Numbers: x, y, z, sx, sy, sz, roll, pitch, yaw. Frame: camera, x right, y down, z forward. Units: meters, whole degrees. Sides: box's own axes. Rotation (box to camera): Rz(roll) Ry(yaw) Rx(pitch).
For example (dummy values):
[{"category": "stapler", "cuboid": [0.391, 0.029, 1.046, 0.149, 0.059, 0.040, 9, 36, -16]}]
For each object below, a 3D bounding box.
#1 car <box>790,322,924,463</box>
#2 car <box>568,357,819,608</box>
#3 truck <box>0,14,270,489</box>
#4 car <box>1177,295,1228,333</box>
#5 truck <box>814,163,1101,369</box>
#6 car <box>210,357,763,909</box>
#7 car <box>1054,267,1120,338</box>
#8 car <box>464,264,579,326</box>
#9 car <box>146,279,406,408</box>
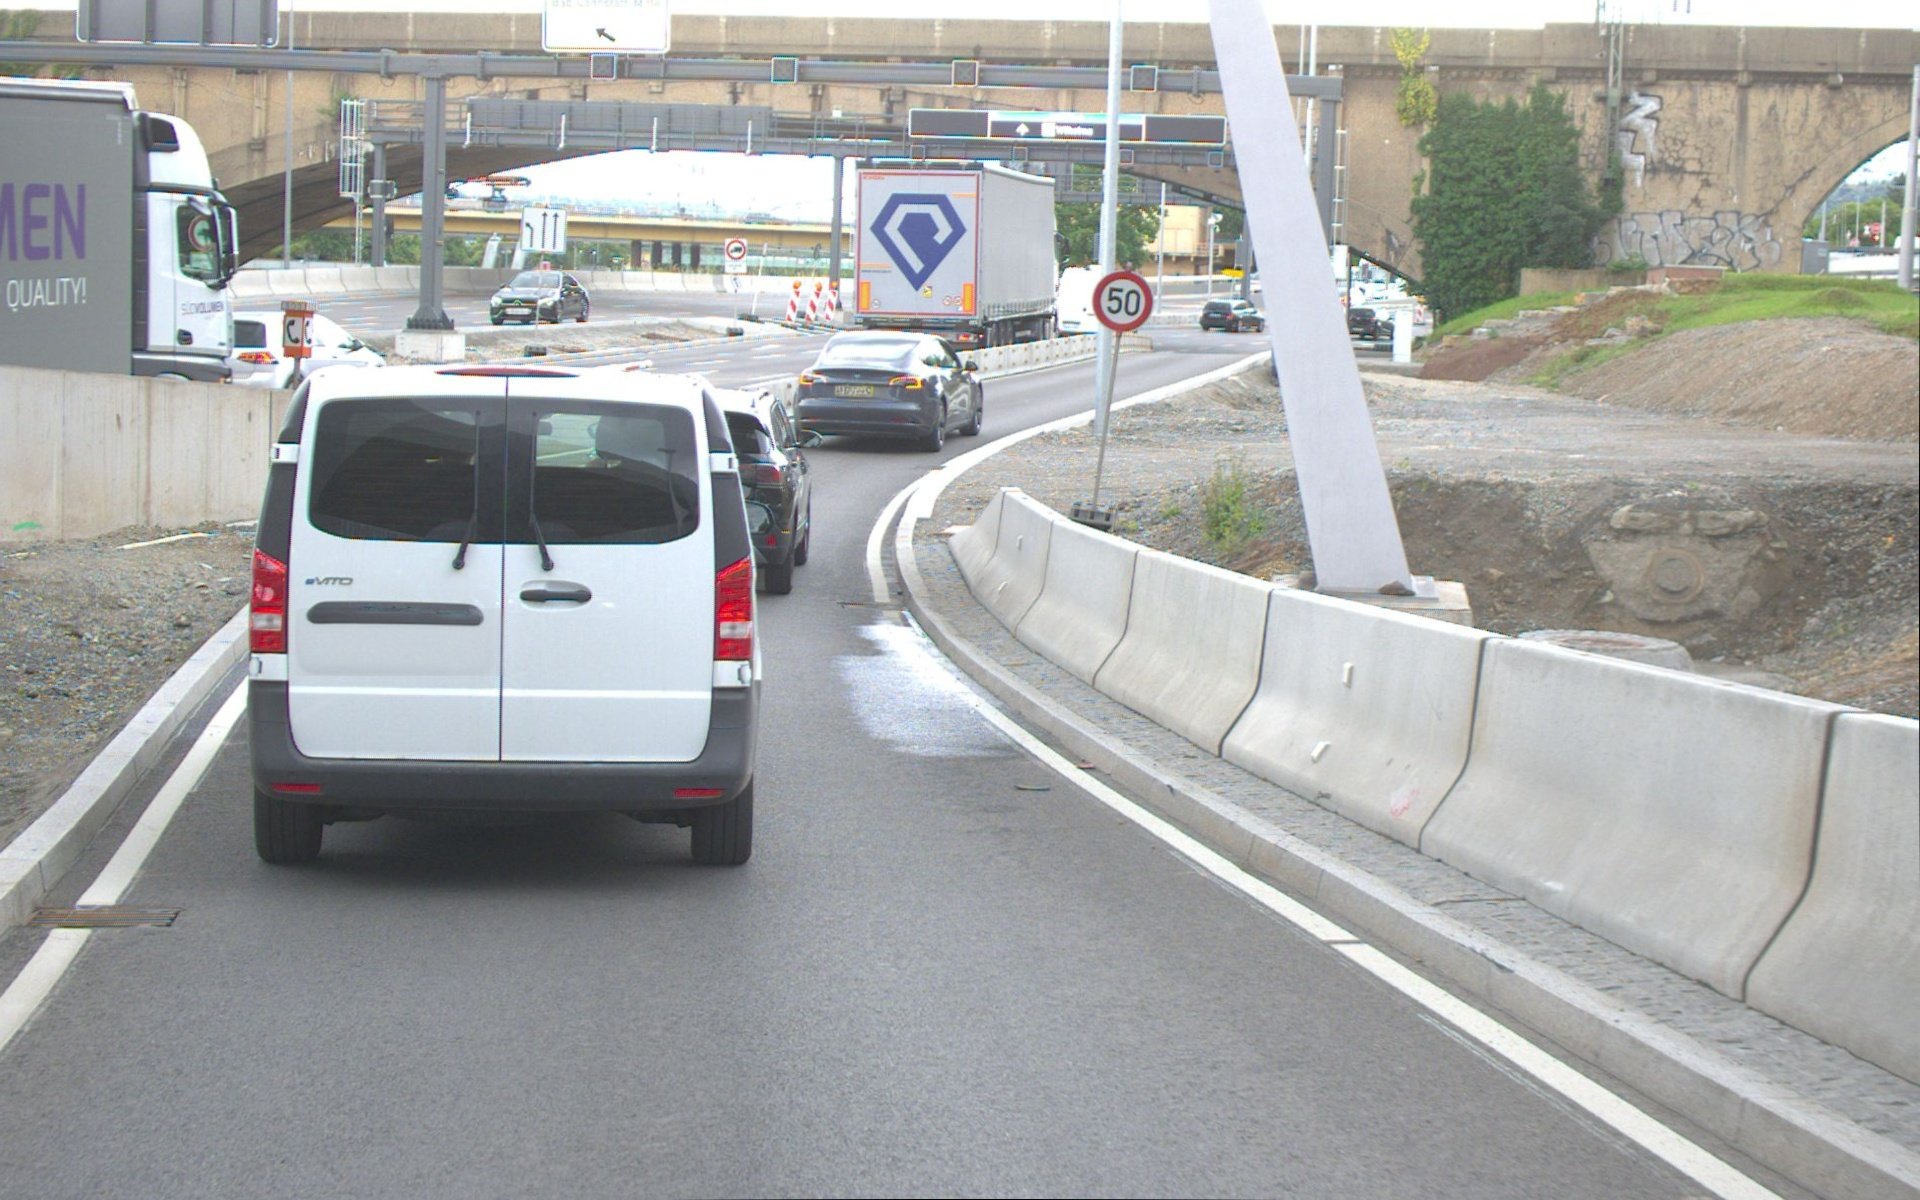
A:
[{"category": "car", "cuboid": [-1.284, -2.673, 43.787, 1.501, 1.463, 3.401, 3, 8, 0]}, {"category": "car", "cuboid": [-2.142, -1.038, 28.479, 1.749, 1.619, 3.847, 4, 7, -1]}, {"category": "truck", "cuboid": [-10.068, -3.120, 30.059, 2.990, 4.161, 11.234, 4, 5, 15]}, {"category": "car", "cuboid": [10.933, -12.921, 155.404, 1.623, 1.579, 4.002, 3, 4, -5]}, {"category": "truck", "cuboid": [0.265, -7.300, 75.419, 3.318, 3.795, 16.592, 5, 6, 9]}, {"category": "car", "cuboid": [-1.824, 0.019, 14.292, 1.876, 1.884, 4.754, 1, 2, -4]}, {"category": "car", "cuboid": [4.267, -9.928, 115.004, 1.898, 2.108, 4.485, 4, 4, 4]}, {"category": "car", "cuboid": [-11.693, -8.147, 91.982, 1.820, 1.448, 3.999, 4, 4, 11]}, {"category": "car", "cuboid": [-9.121, -3.417, 46.193, 1.994, 1.546, 3.999, 4, 4, 11]}]
